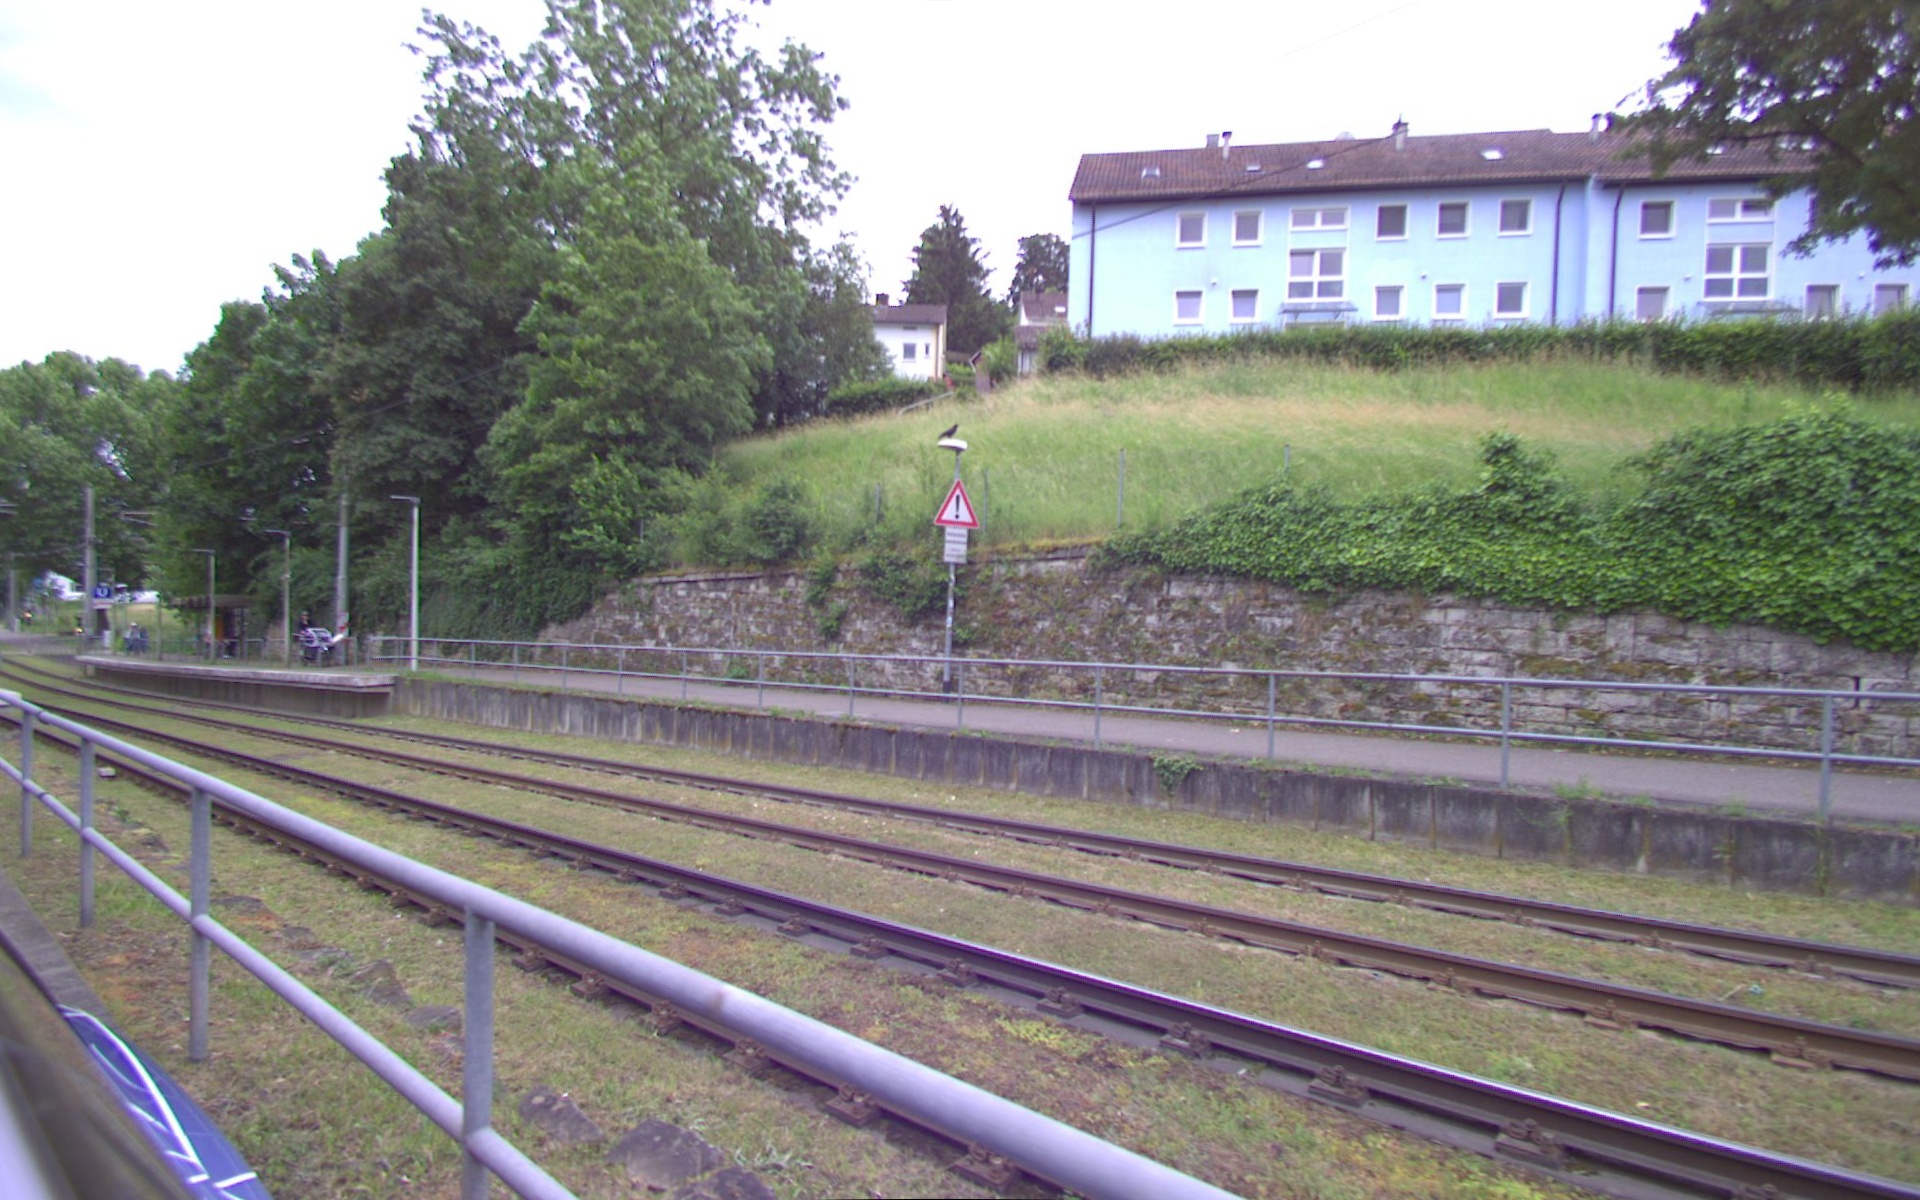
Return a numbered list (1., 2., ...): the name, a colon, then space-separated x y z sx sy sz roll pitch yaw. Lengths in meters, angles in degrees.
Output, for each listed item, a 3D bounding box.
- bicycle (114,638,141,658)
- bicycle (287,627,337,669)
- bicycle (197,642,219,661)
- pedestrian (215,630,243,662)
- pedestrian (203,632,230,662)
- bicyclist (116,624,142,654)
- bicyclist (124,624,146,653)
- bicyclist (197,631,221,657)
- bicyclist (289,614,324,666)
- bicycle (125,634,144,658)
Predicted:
1. bicycle: -41.636 2.408 50.616 1.838 0.932 0.474 -3 -2 32
2. bicycle: -20.643 1.533 32.202 0.742 1.249 2.868 -1 -1 -45
3. bicycle: -32.314 2.219 43.487 1.564 0.787 0.445 -3 -2 42
4. pedestrian: -32.845 2.076 45.488 0.772 1.385 0.813 -1 0 35
5. pedestrian: -33.869 2.127 46.107 0.772 1.333 0.813 -1 0 35
6. bicyclist: -41.566 1.933 50.612 0.905 1.442 0.739 -3 -2 32
7. bicyclist: -42.946 1.988 52.669 0.839 1.454 0.722 -3 -2 40
8. bicyclist: -32.325 1.889 43.549 0.744 1.061 0.682 -3 -2 41
9. bicyclist: -21.126 1.291 32.723 1.033 1.641 0.696 -3 -1 44
10. bicycle: -42.858 2.377 52.540 1.939 1.197 0.458 -3 -2 41
